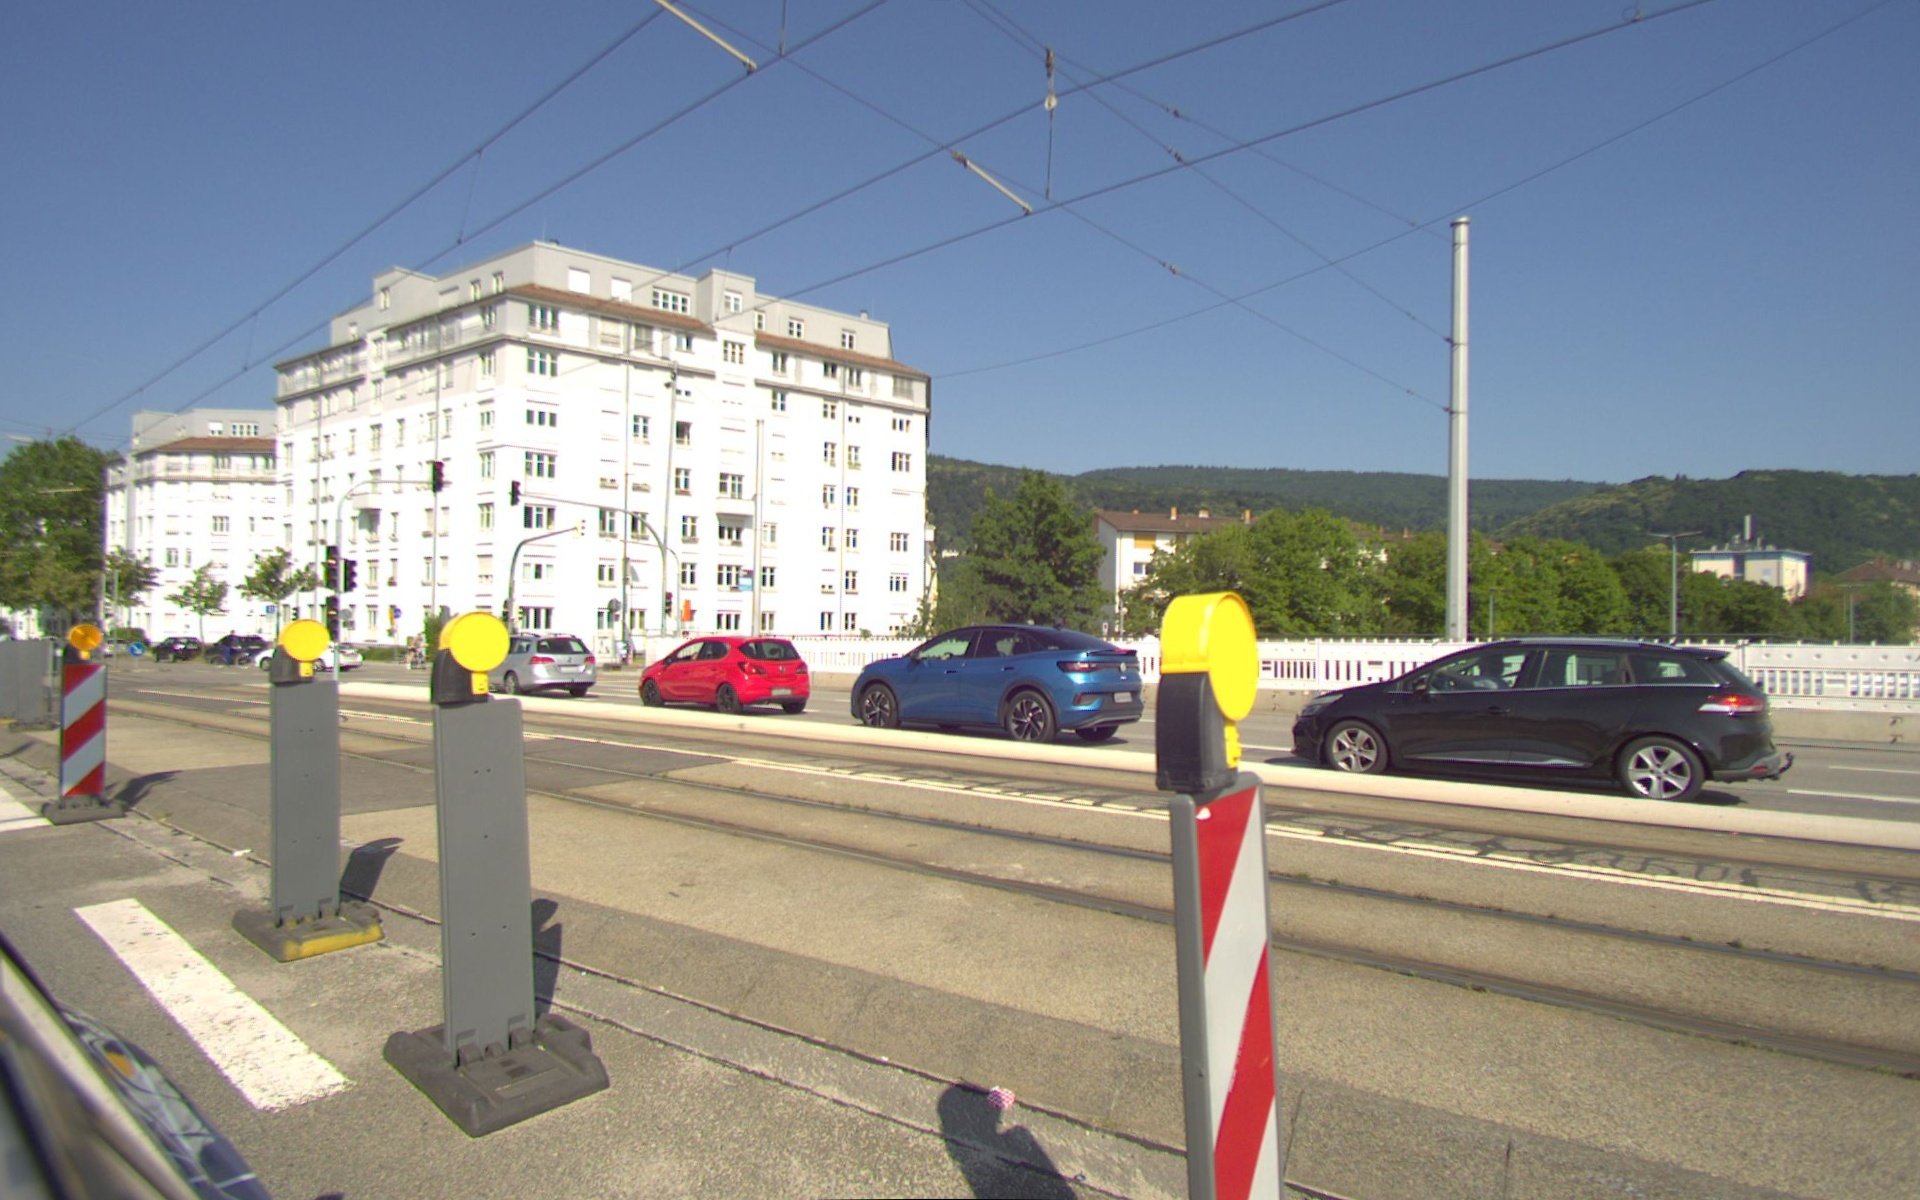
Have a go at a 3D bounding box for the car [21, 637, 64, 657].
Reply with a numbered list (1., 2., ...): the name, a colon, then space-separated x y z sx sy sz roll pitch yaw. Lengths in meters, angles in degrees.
1. car: -70.785 3.589 78.031 3.732 1.496 1.719 -2 -2 36

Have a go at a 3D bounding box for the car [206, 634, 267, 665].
1. car: -40.792 2.780 57.033 3.732 1.650 1.719 -2 -2 36

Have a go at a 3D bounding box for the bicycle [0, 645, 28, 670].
1. bicycle: -40.098 2.389 42.127 0.707 0.998 1.802 -1 -2 28

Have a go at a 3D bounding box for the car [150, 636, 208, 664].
1. car: -47.786 3.024 61.892 3.730 1.650 1.720 -2 -2 34

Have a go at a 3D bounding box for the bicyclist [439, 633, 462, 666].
1. bicyclist: -24.804 2.414 49.281 0.914 1.591 0.617 -1 -1 31

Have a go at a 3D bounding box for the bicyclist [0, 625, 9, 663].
1. bicyclist: -40.143 1.830 42.034 0.707 1.561 0.777 -1 -1 29

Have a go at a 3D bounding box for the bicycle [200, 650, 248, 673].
1. bicycle: -36.019 3.009 49.577 1.881 1.028 0.823 -1 -2 -36

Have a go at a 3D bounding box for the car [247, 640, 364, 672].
1. car: -29.732 2.550 46.037 4.432 1.423 1.698 0 -3 7

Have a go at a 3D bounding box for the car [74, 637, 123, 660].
1. car: -58.628 3.283 68.852 3.732 1.496 1.719 -2 -2 36

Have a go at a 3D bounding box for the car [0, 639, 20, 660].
1. car: -69.775 3.587 73.429 3.655 1.504 1.575 -2 -4 37

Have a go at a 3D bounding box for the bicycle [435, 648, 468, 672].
1. bicycle: -24.736 2.908 49.228 1.779 1.108 0.621 -1 -1 31

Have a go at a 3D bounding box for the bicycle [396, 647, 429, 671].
1. bicycle: -26.804 2.867 49.537 1.780 1.108 0.612 -1 -2 32

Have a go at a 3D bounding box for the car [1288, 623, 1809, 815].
1. car: 5.522 1.021 9.898 4.172 1.512 1.491 -1 -4 38

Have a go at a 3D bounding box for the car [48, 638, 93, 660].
1. car: -64.907 3.544 73.843 3.732 1.496 1.719 -2 -2 36

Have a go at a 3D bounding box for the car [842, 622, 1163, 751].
1. car: 0.469 1.141 14.450 4.553 1.562 1.652 -2 -4 41

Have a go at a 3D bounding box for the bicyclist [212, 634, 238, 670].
1. bicyclist: -36.022 2.554 49.601 0.993 1.666 0.811 -2 -2 -35

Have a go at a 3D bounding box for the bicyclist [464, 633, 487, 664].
1. bicyclist: -23.947 2.400 50.031 0.912 1.489 0.592 -1 -2 25

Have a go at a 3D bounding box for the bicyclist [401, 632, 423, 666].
1. bicyclist: -26.839 2.394 49.568 0.914 1.602 0.617 -2 -2 31

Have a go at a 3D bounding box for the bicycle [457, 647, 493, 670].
1. bicycle: -24.000 2.881 50.051 1.804 1.108 0.599 -1 -2 25

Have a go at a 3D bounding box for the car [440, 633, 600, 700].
1. car: -10.521 1.533 24.045 4.640 1.448 1.620 -2 -4 41

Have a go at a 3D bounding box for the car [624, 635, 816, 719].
1. car: -4.656 1.398 19.334 3.977 1.448 1.518 -2 -4 41
